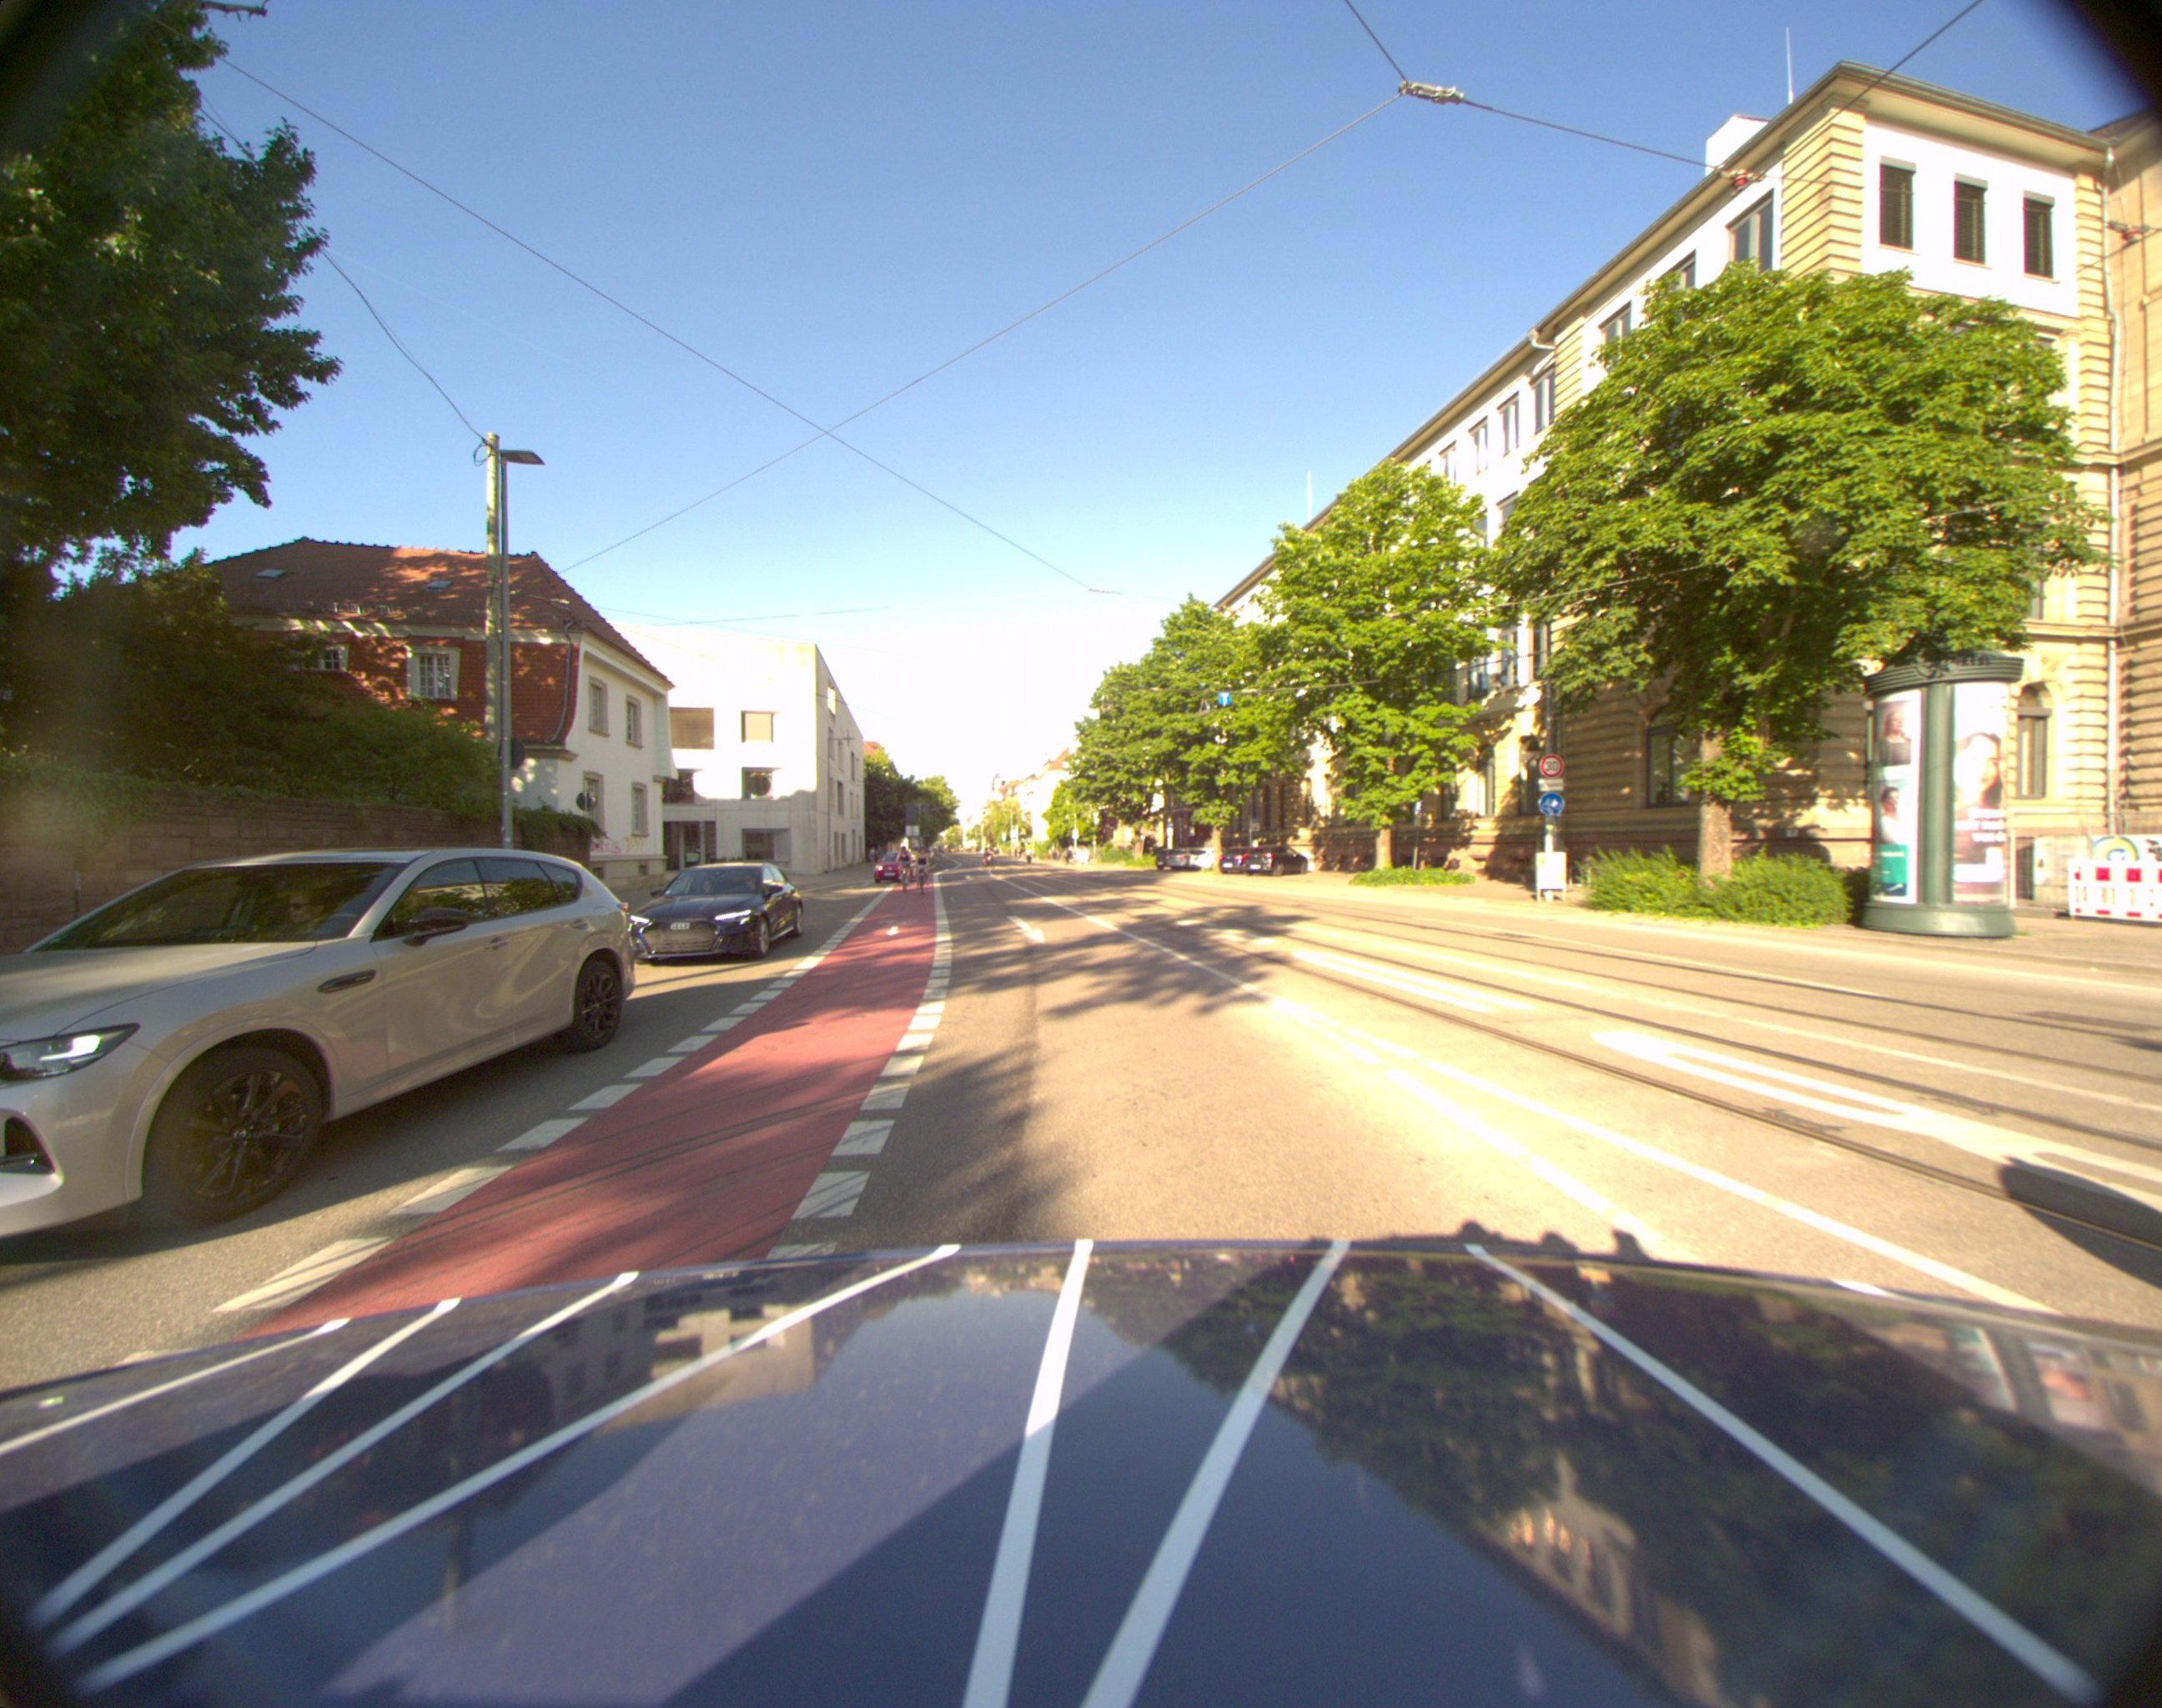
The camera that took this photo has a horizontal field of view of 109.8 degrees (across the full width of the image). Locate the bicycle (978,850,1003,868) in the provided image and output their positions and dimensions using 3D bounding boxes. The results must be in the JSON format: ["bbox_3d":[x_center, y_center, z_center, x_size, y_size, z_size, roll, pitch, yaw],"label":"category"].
[{"bbox_3d":[-6.533,0.335,55.115,0.675,1.243,2.460,0,1,22],"label":"bicycle"}]

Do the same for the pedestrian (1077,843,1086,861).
[{"bbox_3d":[0.027,-0.191,72.469,0.676,1.638,0.817,-1,1,-9],"label":"pedestrian"}]

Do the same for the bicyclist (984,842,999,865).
[{"bbox_3d":[-6.508,-0.053,55.172,0.674,1.638,1.031,0,1,22],"label":"bicyclist"}]

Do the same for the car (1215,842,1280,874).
[{"bbox_3d":[9.070,0.205,41.267,3.657,1.552,1.645,-3,1,-43],"label":"car"}]

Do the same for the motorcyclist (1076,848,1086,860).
[{"bbox_3d":[-0.026,0.016,76.293,0.854,1.243,0.675,0,1,-11],"label":"motorcyclist"}]

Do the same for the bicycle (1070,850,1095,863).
[{"bbox_3d":[0.123,0.223,76.322,2.457,1.243,0.675,0,1,-11],"label":"bicycle"}]

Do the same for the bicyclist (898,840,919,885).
[{"bbox_3d":[-6.389,0.309,28.241,0.676,1.638,1.028,0,1,-9],"label":"bicyclist"}]

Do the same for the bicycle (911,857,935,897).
[{"bbox_3d":[-5.386,0.756,25.953,0.676,1.243,2.454,0,1,-9],"label":"bicycle"}]

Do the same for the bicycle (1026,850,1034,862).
[{"bbox_3d":[-5.477,0.197,82.194,0.676,1.243,2.456,-1,1,0],"label":"bicycle"}]

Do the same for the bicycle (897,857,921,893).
[{"bbox_3d":[-6.390,0.741,28.291,0.676,1.243,2.454,0,1,-9],"label":"bicycle"}]

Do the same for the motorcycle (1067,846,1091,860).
[{"bbox_3d":[-0.216,-0.099,76.370,2.267,1.285,0.680,-3,1,-17],"label":"motorcycle"}]

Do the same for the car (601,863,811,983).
[{"bbox_3d":[-5.693,0.937,12.133,1.789,1.425,3.996,-2,1,-8],"label":"car"}]

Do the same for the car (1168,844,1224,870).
[{"bbox_3d":[7.489,0.176,49.198,3.657,1.552,1.645,-3,1,-43],"label":"car"}]

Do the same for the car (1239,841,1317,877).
[{"bbox_3d":[10.058,0.230,38.616,4.189,1.621,1.841,-3,1,-43],"label":"car"}]

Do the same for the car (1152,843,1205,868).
[{"bbox_3d":[6.781,0.109,52.601,3.657,1.552,1.645,-3,1,-43],"label":"car"}]

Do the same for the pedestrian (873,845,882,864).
[{"bbox_3d":[-17.384,0.061,64.921,0.676,1.638,0.817,-1,1,-9],"label":"pedestrian"}]

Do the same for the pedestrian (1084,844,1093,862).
[{"bbox_3d":[0.716,-0.105,72.631,0.676,1.638,0.817,-1,1,-9],"label":"pedestrian"}]

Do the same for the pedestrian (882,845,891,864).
[{"bbox_3d":[-16.659,0.028,65.167,0.676,1.638,0.817,-1,1,-9],"label":"pedestrian"}]

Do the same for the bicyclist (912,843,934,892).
[{"bbox_3d":[-5.367,0.450,25.832,0.676,1.638,1.028,0,1,-9],"label":"bicyclist"}]

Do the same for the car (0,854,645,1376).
[{"bbox_3d":[-4.798,0.909,4.608,1.946,1.682,4.528,-2,1,-5],"label":"car"}]

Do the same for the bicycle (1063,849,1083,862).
[{"bbox_3d":[-0.769,0.105,73.795,0.674,1.243,2.462,1,1,35],"label":"bicycle"}]

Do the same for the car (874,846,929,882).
[{"bbox_3d":[-8.494,0.457,36.264,1.649,1.552,3.649,-2,1,1],"label":"car"}]

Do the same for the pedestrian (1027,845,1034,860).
[{"bbox_3d":[-5.480,-0.155,82.108,0.675,1.638,0.817,-1,1,0],"label":"pedestrian"}]

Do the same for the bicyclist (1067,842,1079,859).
[{"bbox_3d":[-0.795,-0.356,73.765,0.674,1.638,1.031,1,1,37],"label":"bicyclist"}]

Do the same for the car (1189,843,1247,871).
[{"bbox_3d":[8.488,0.182,46.977,3.657,1.552,1.645,-3,1,-43],"label":"car"}]
